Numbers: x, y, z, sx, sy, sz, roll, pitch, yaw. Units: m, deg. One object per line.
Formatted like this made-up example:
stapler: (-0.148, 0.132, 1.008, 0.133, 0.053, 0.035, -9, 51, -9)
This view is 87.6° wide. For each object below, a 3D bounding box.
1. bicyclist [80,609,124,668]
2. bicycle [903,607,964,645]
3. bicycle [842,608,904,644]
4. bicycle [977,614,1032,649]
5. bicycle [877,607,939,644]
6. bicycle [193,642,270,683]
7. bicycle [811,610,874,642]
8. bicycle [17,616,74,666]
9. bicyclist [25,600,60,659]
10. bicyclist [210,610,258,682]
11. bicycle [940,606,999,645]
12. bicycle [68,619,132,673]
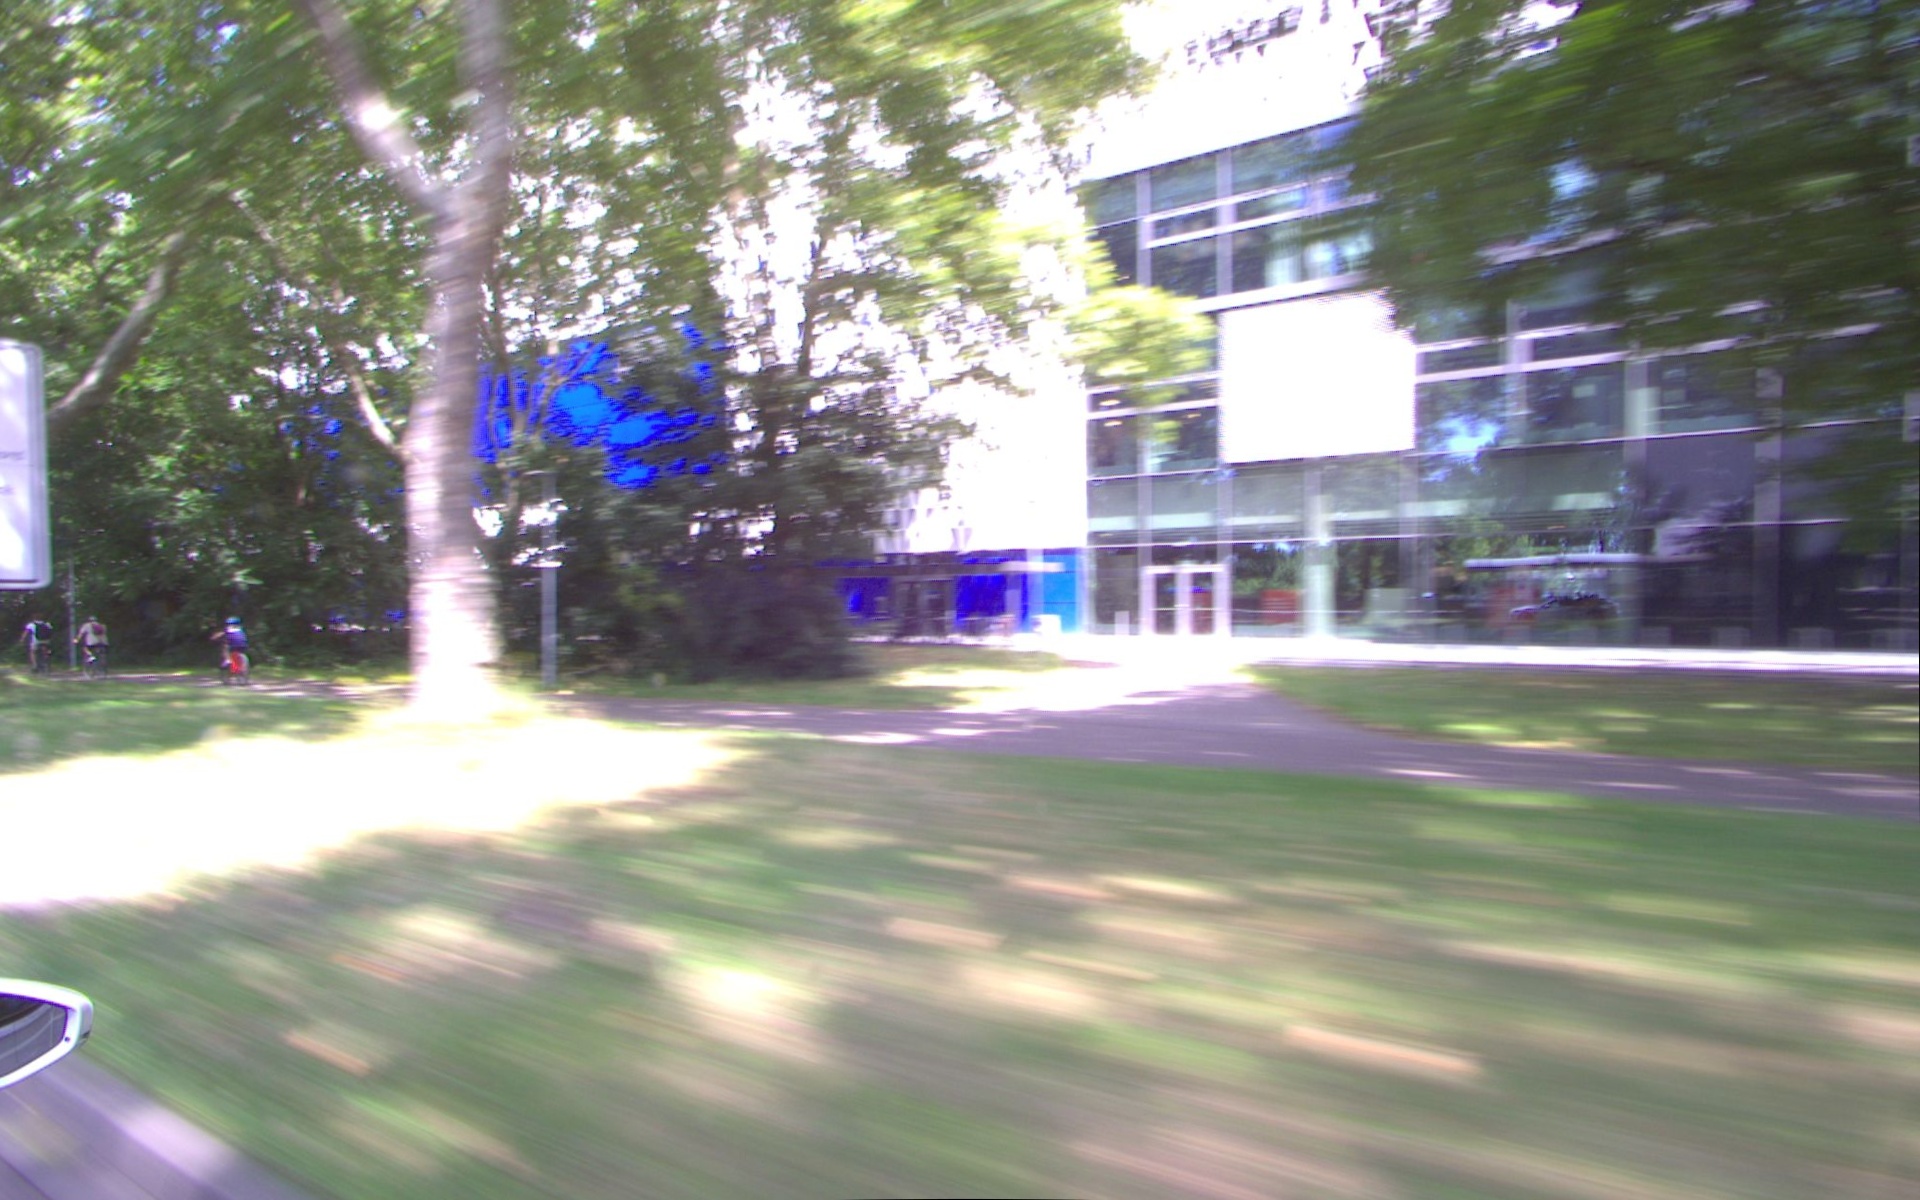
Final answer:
bicyclist: (-23.855, 1.064, 27.850, 1.038, 1.620, 0.657, 0, 0, 33)
bicycle: (-0.781, 0.777, 31.096, 0.747, 1.125, 2.543, 0, 0, 28)
bicycle: (-2.791, 0.817, 32.351, 0.747, 1.125, 2.543, 0, 0, 28)
bicycle: (1.364, 0.930, 30.032, 0.747, 0.973, 2.314, 0, 0, 28)
bicycle: (-1.624, 0.801, 31.832, 0.747, 1.125, 2.543, 0, 0, 28)
bicycle: (-17.044, 1.444, 23.416, 1.991, 0.898, 0.645, 0, 0, 28)
bicycle: (-3.833, 0.838, 33.015, 0.747, 0.983, 2.543, 0, 0, 28)
bicycle: (-27.924, 1.228, 30.549, 2.623, 1.439, 0.609, 0, 1, 33)
bicyclist: (-28.026, 0.888, 30.578, 0.831, 1.769, 0.596, 0, 0, 33)
bicyclist: (-16.931, 1.058, 23.355, 0.804, 1.631, 0.622, 0, 0, 27)
bicycle: (0.324, 0.765, 30.710, 0.747, 1.125, 2.543, 0, 0, 28)
bicycle: (-24.041, 1.249, 27.977, 2.623, 1.439, 0.609, 0, 1, 33)
